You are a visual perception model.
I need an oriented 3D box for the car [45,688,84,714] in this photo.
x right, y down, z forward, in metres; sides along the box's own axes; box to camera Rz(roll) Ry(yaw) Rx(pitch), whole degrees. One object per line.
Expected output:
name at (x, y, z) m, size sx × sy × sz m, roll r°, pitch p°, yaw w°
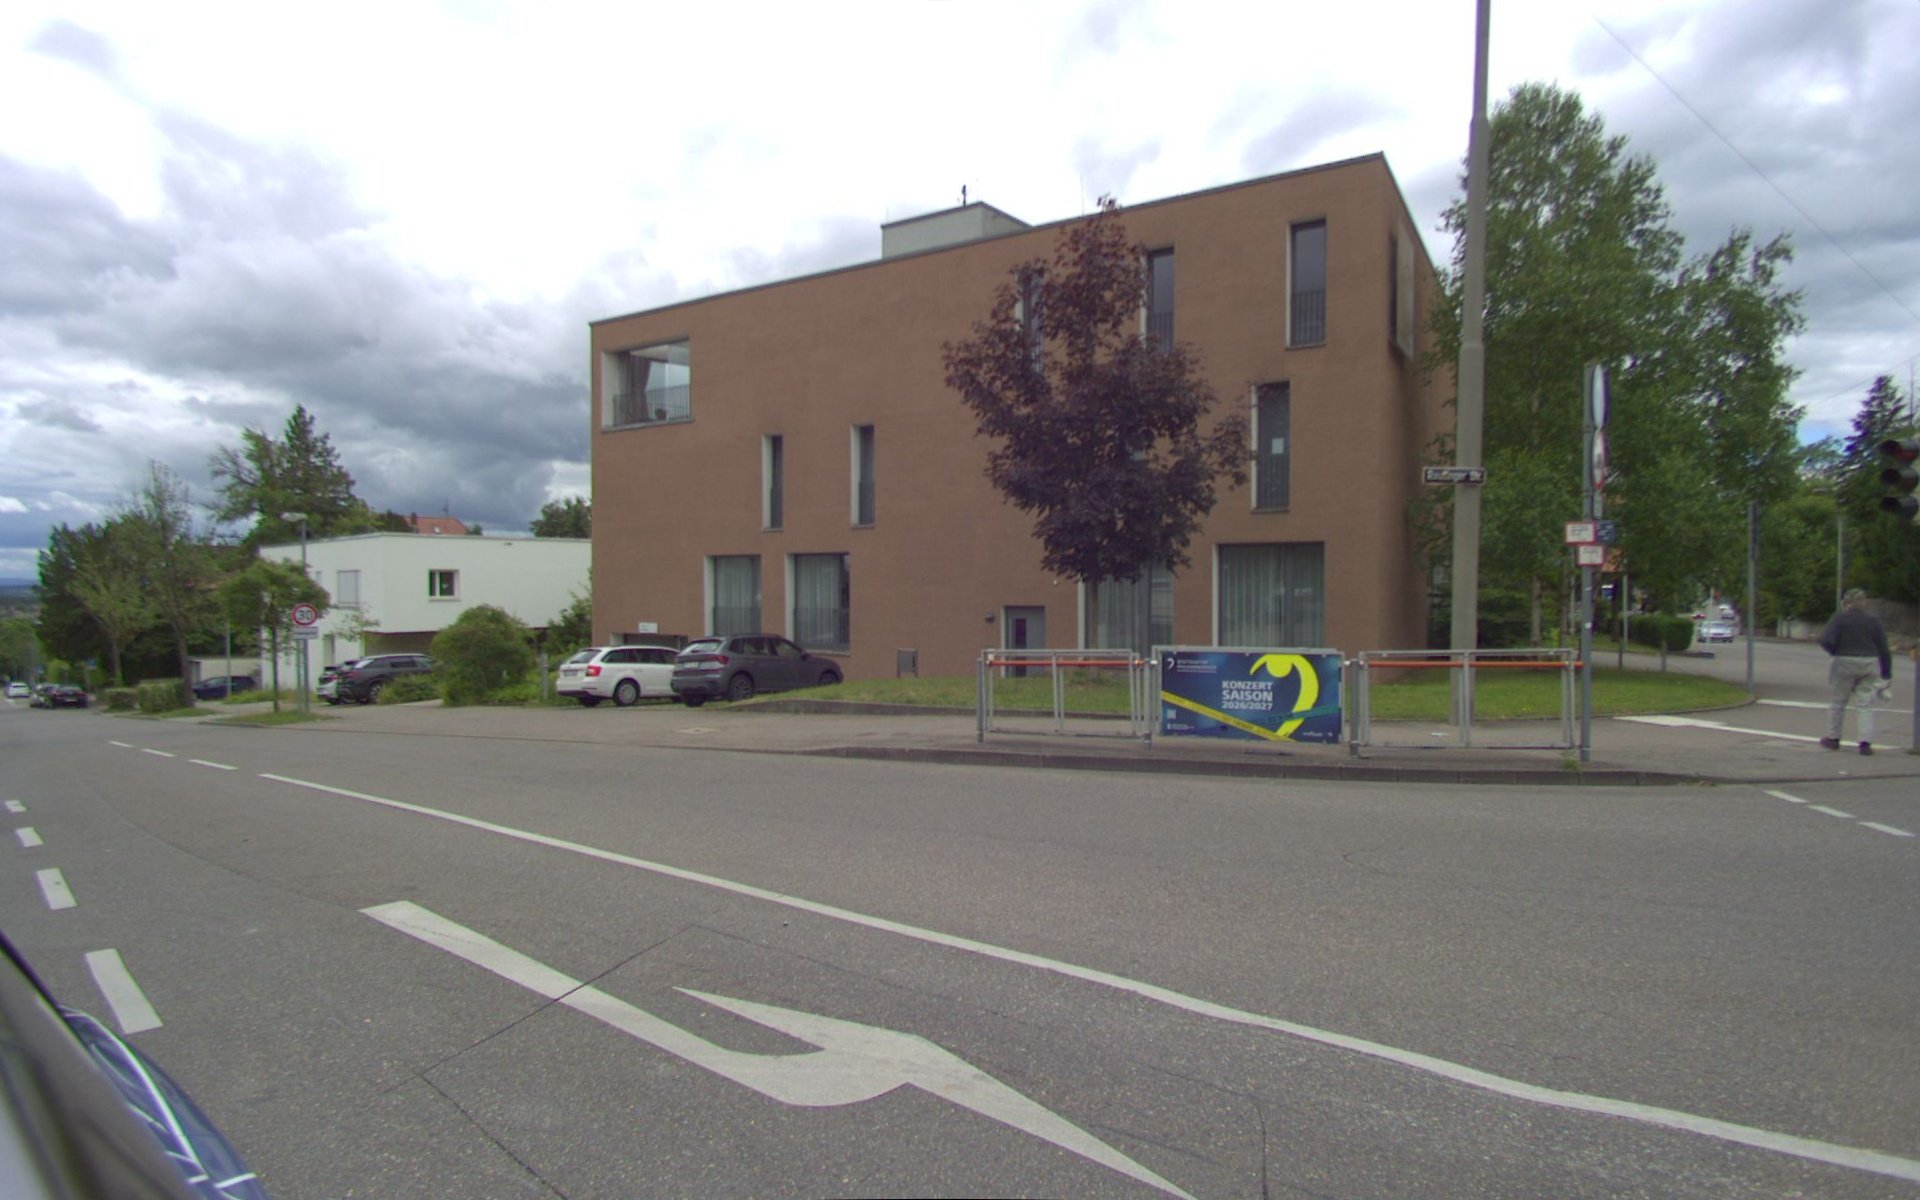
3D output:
car at (-54.939, 6.169, 62.054) m, size 1.638 × 1.432 × 4.003 m, roll 0°, pitch -4°, yaw -44°

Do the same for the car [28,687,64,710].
car at (-61.562, 6.628, 68.132) m, size 1.638 × 1.432 × 4.371 m, roll 0°, pitch -4°, yaw -44°

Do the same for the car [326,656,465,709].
car at (-19.977, 2.898, 35.923) m, size 1.793 × 1.608 × 3.943 m, roll -6°, pitch -4°, yaw 43°

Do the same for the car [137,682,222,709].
car at (-46.976, 5.737, 60.920) m, size 3.939 × 1.296 × 1.665 m, roll 0°, pitch -4°, yaw -43°

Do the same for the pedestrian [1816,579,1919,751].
pedestrian at (9.138, 0.639, 10.176) m, size 0.729 × 1.646 × 0.684 m, roll 2°, pitch -3°, yaw -45°

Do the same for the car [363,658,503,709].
car at (-18.234, 2.877, 35.138) m, size 1.727 × 1.497 × 3.943 m, roll -6°, pitch -4°, yaw 43°

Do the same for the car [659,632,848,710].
car at (-4.504, 1.527, 22.513) m, size 1.724 × 1.497 × 3.950 m, roll -5°, pitch -4°, yaw 37°

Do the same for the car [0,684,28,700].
car at (-95.914, 9.298, 102.335) m, size 4.362 × 1.432 × 1.861 m, roll -3°, pitch -3°, yaw 38°

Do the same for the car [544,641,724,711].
car at (-7.999, 1.845, 25.112) m, size 1.724 × 1.497 × 3.950 m, roll -5°, pitch -4°, yaw 37°

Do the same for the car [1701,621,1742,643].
car at (51.631, 2.158, 68.677) m, size 1.703 × 1.424 × 4.378 m, roll -2°, pitch -1°, yaw 31°
